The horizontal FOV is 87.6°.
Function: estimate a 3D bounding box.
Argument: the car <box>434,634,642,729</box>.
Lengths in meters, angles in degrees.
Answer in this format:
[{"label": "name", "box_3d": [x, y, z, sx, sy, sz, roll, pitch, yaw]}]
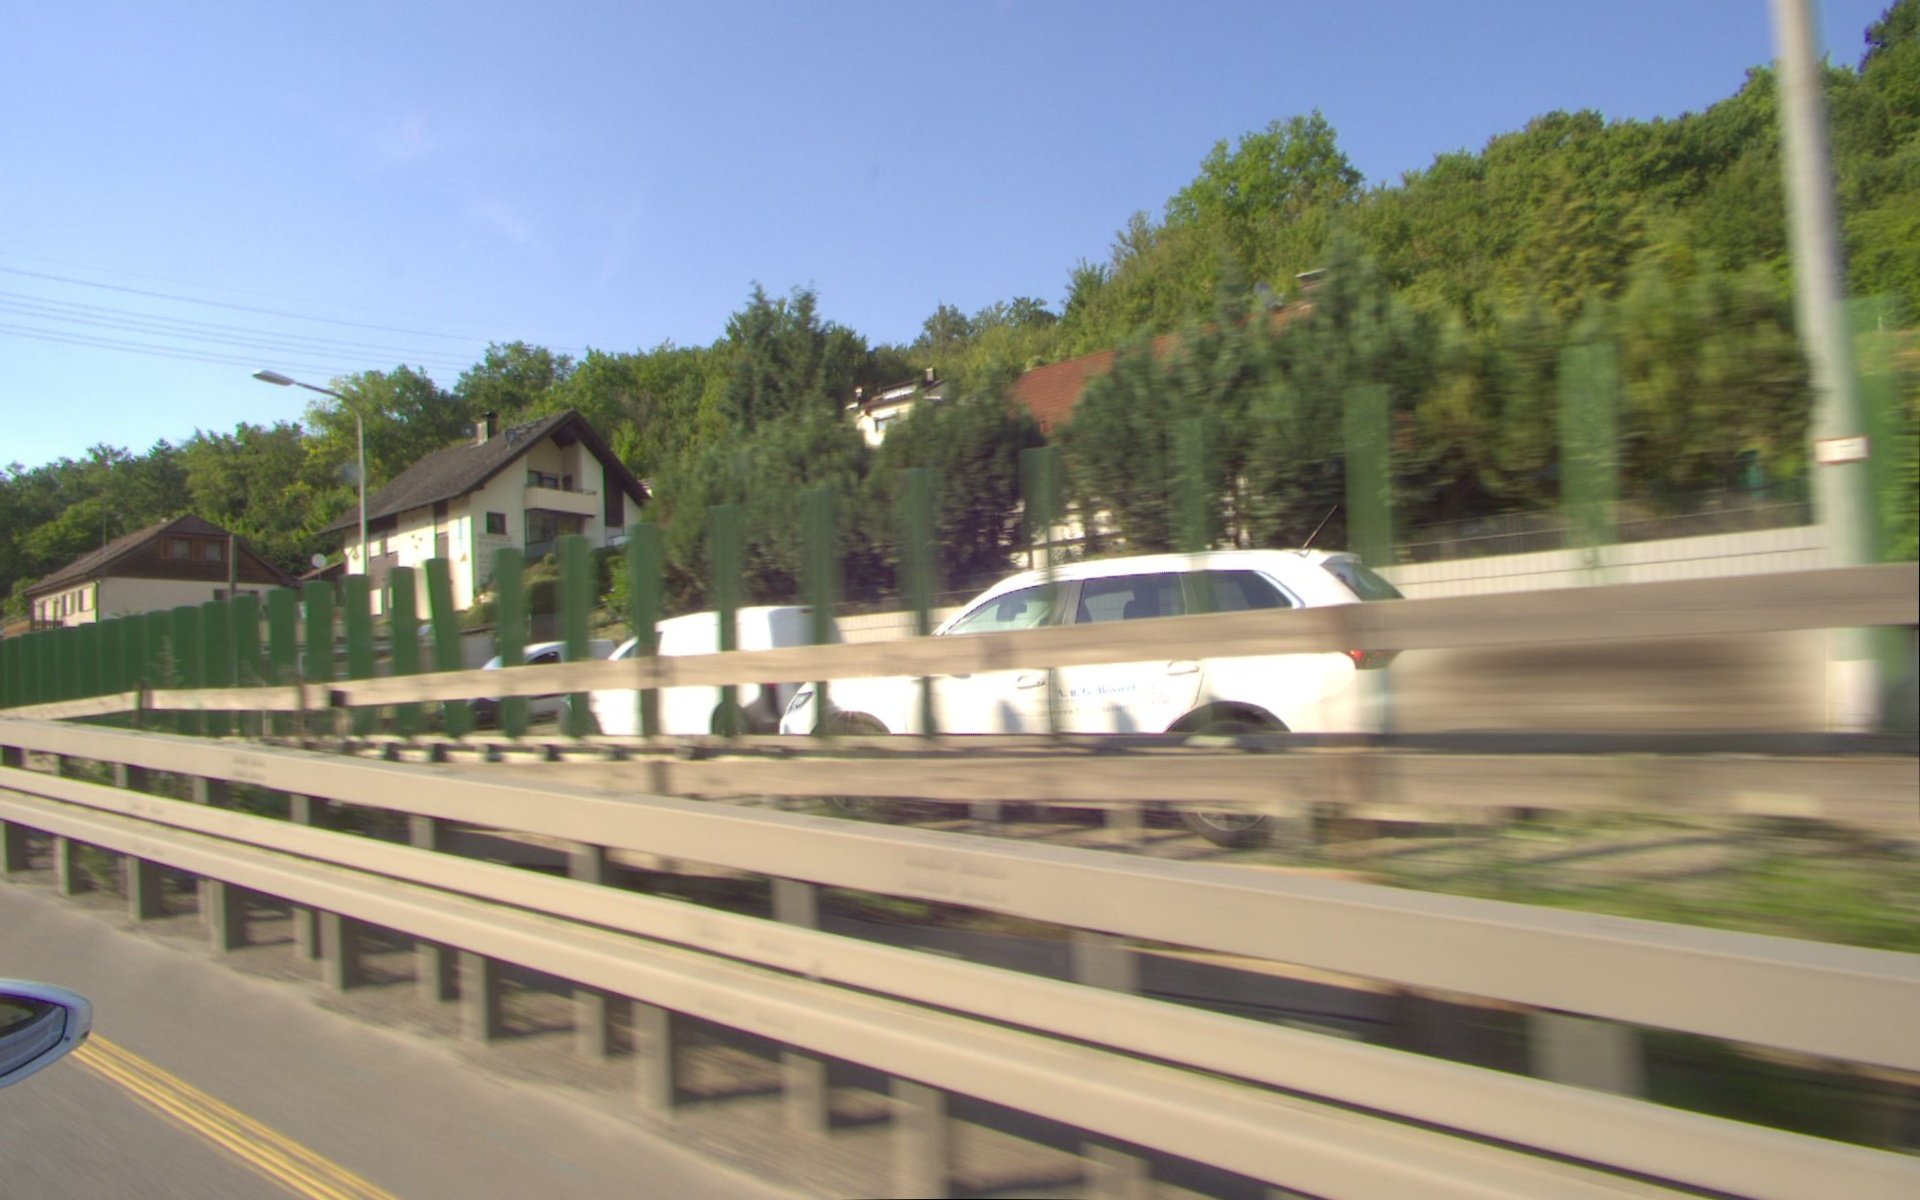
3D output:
[{"label": "car", "box_3d": [-9.804, 1.851, 23.555, 1.826, 1.759, 4.120, -4, 0, 32]}]

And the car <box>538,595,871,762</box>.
[{"label": "car", "box_3d": [-3.478, 1.048, 13.346, 4.379, 1.893, 1.804, -4, -4, 32]}]

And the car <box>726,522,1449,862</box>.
[{"label": "car", "box_3d": [0.704, 0.618, 6.853, 4.582, 1.678, 1.696, -4, -4, 31]}]
